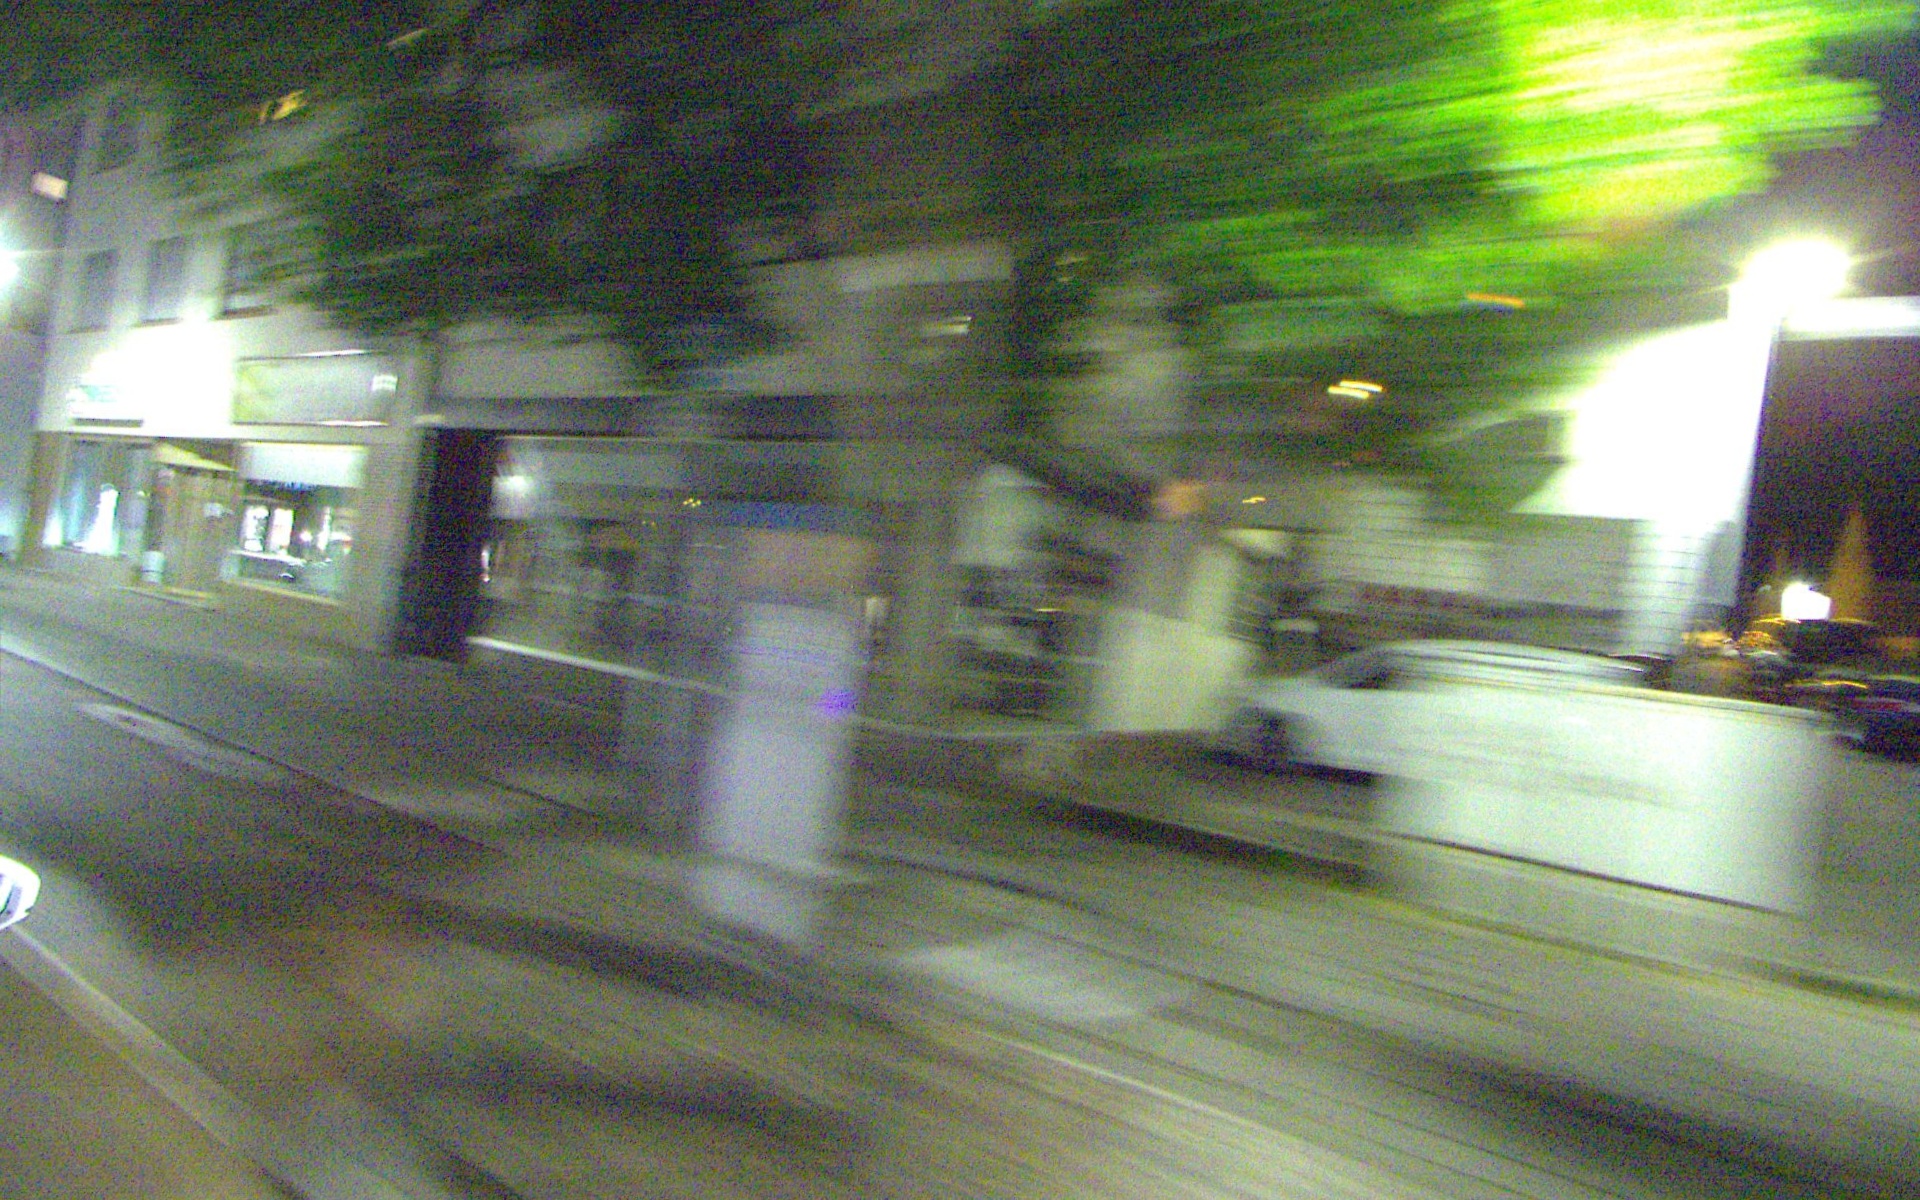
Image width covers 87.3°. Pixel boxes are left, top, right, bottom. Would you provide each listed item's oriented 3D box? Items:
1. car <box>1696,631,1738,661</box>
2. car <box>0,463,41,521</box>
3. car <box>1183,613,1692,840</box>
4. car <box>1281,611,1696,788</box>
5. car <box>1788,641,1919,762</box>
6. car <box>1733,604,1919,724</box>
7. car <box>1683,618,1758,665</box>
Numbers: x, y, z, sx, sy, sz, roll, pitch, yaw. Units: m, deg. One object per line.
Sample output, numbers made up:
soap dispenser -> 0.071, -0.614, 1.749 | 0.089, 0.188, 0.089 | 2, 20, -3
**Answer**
car -> 52.432, 3.136, 69.709 | 1.698, 1.672, 4.041 | 7, 4, 30
car -> -29.719, -3.371, 29.199 | 1.785, 1.602, 4.080 | 8, 3, 29
car -> 4.429, 1.031, 9.719 | 3.989, 1.480, 1.805 | 5, 2, 31
car -> 6.119, 1.039, 11.979 | 3.989, 1.480, 1.805 | 5, 2, 31
car -> 13.992, 1.470, 15.050 | 1.698, 1.359, 4.042 | 5, 3, 30
car -> 17.283, 1.138, 20.268 | 1.901, 1.893, 4.844 | 5, 3, 30
car -> 29.659, 1.570, 39.347 | 1.698, 1.493, 4.042 | 5, 3, 30
